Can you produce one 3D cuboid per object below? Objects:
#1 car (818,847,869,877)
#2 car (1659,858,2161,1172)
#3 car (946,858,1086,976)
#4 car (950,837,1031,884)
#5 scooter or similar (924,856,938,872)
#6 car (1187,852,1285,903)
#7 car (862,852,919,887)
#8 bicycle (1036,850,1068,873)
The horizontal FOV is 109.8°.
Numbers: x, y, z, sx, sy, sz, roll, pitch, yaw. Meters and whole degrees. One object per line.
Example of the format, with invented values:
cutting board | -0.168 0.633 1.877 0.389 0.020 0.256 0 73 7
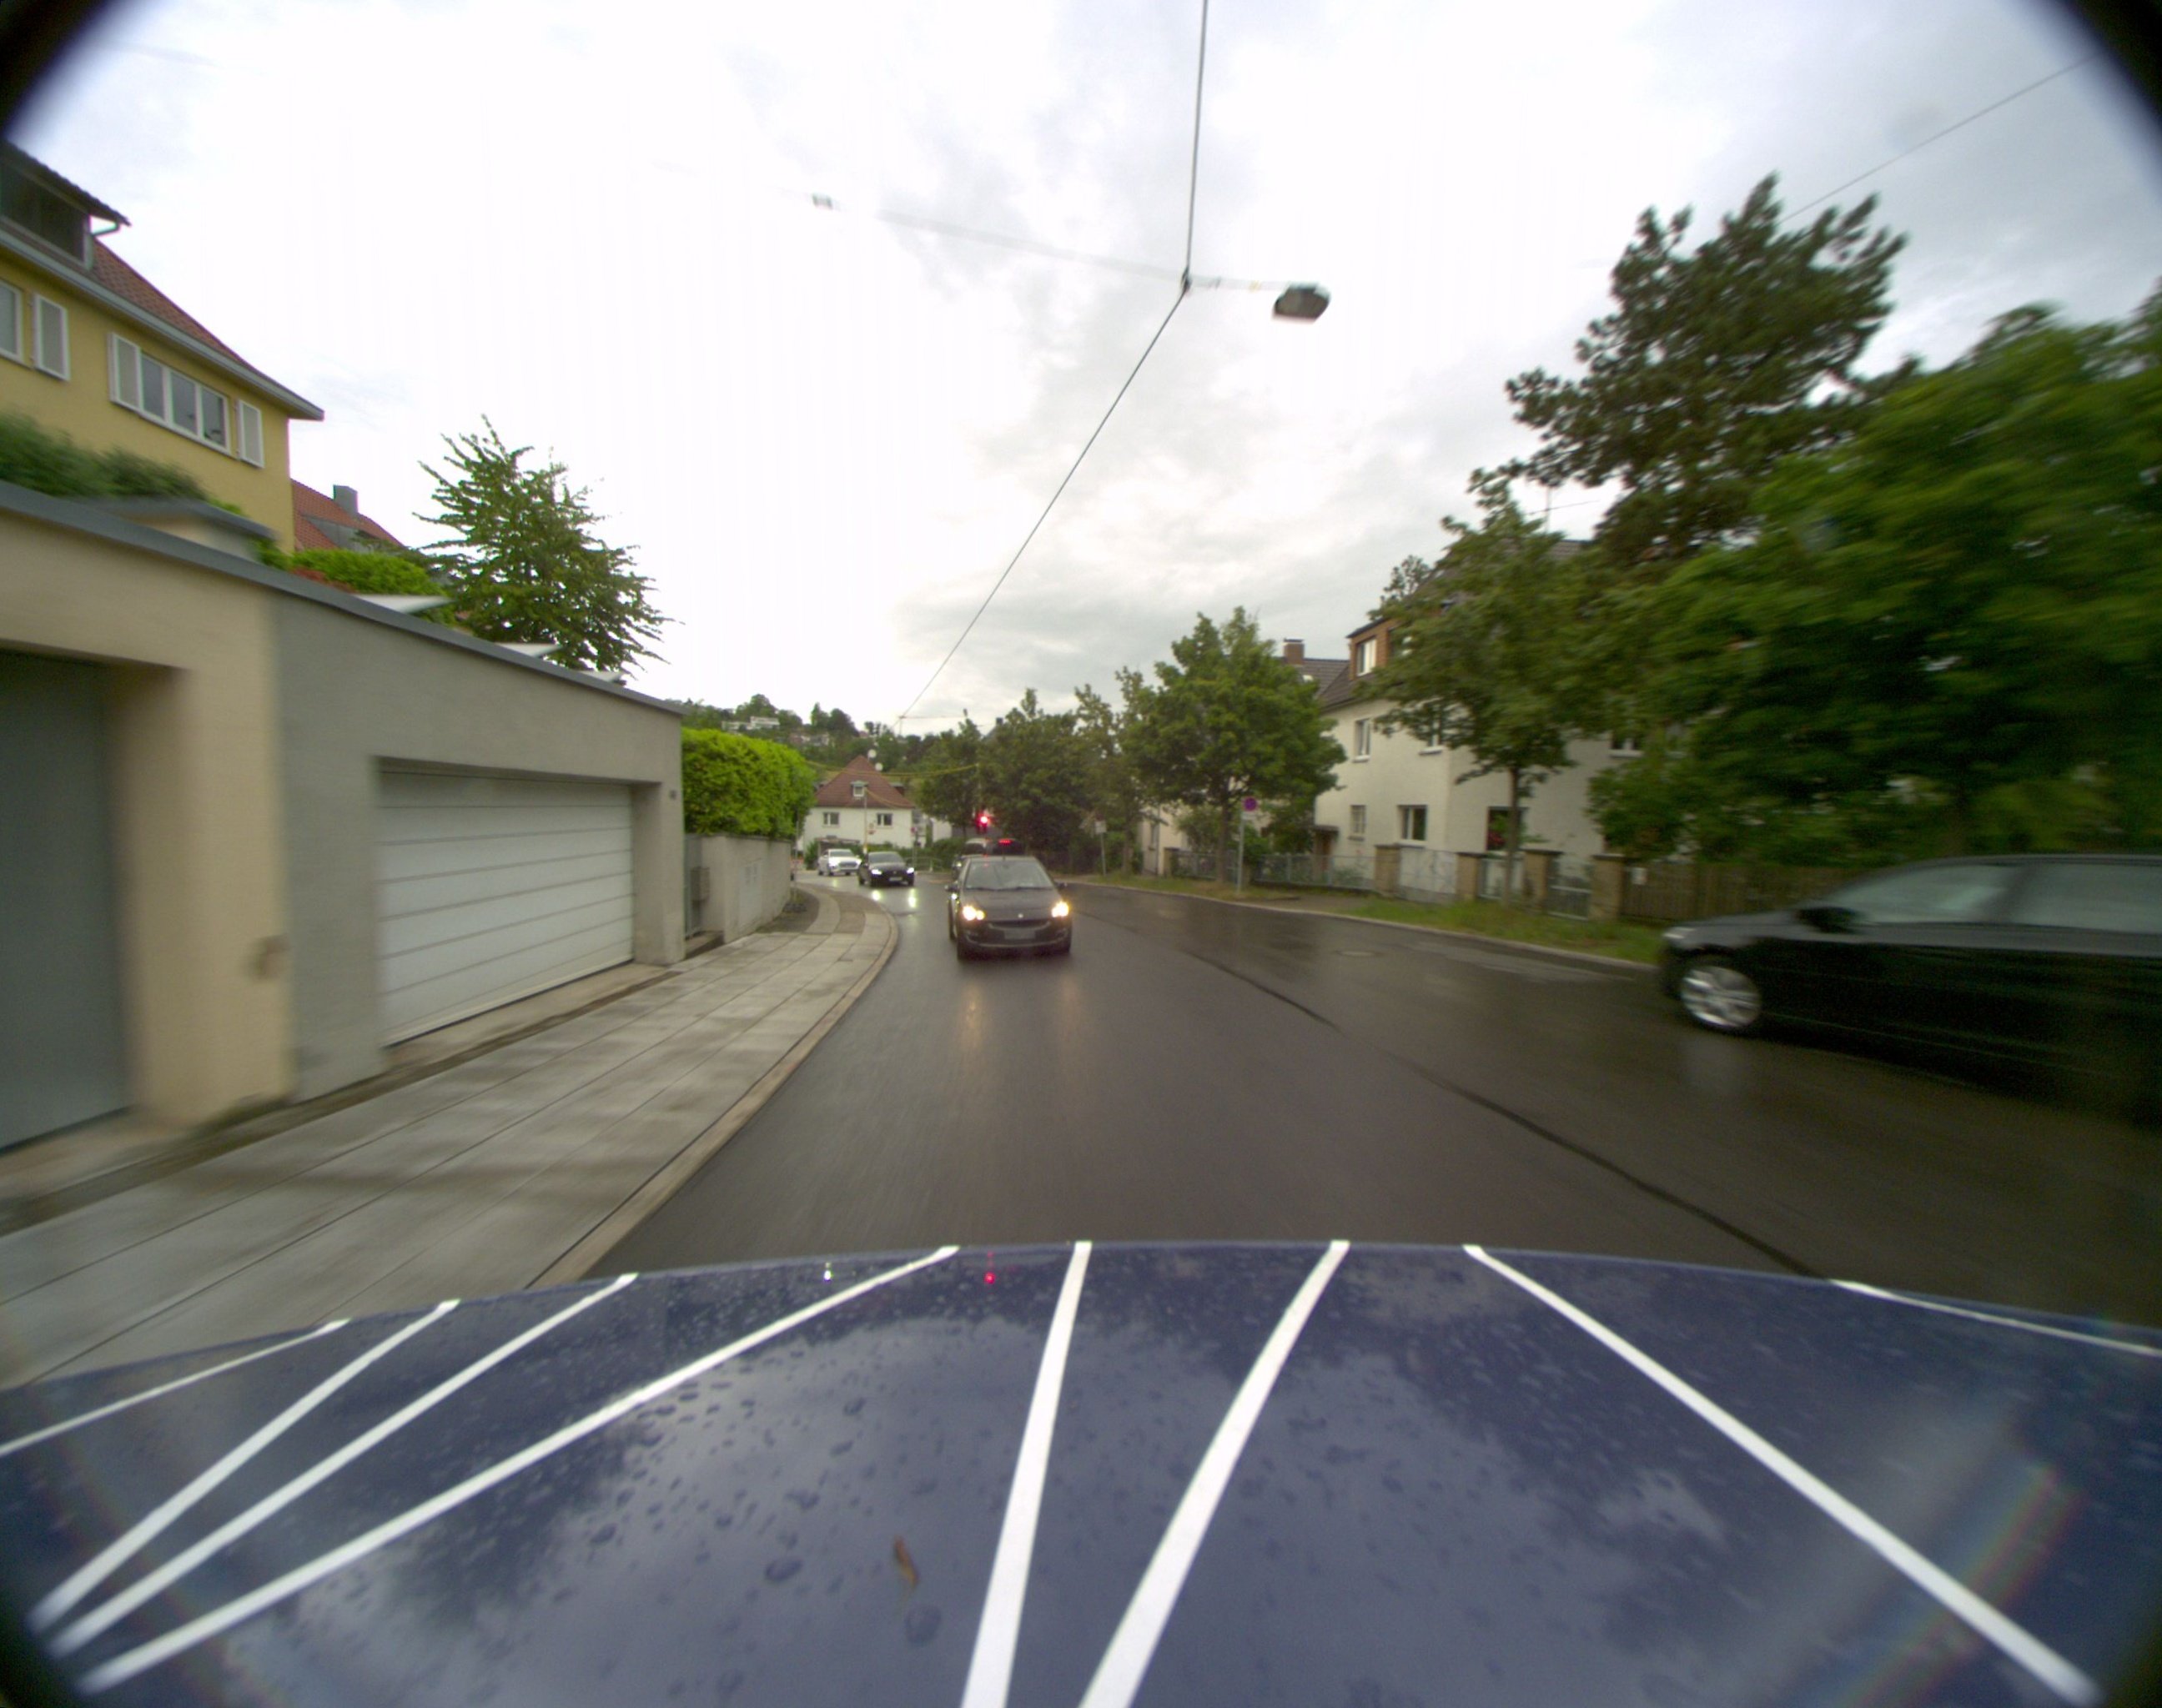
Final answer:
car | -14.631 0.432 46.622 2.005 1.699 4.562 0 1 -30
car | 5.917 0.806 4.451 1.676 1.457 3.890 1 1 -10
car | -1.262 0.848 12.401 1.676 1.457 4.709 1 1 -12
car | -3.981 0.238 32.652 1.905 1.878 5.141 1 0 -26
scooter or similar | -9.931 0.673 50.352 0.325 1.074 1.092 1 -1 -44
car | 7.293 1.094 36.024 3.998 1.576 1.854 11 1 -2
car | -8.384 0.642 33.232 1.846 1.395 4.062 1 1 -22
bicycle | -1.673 0.434 43.394 0.493 1.264 2.267 -4 2 -39
